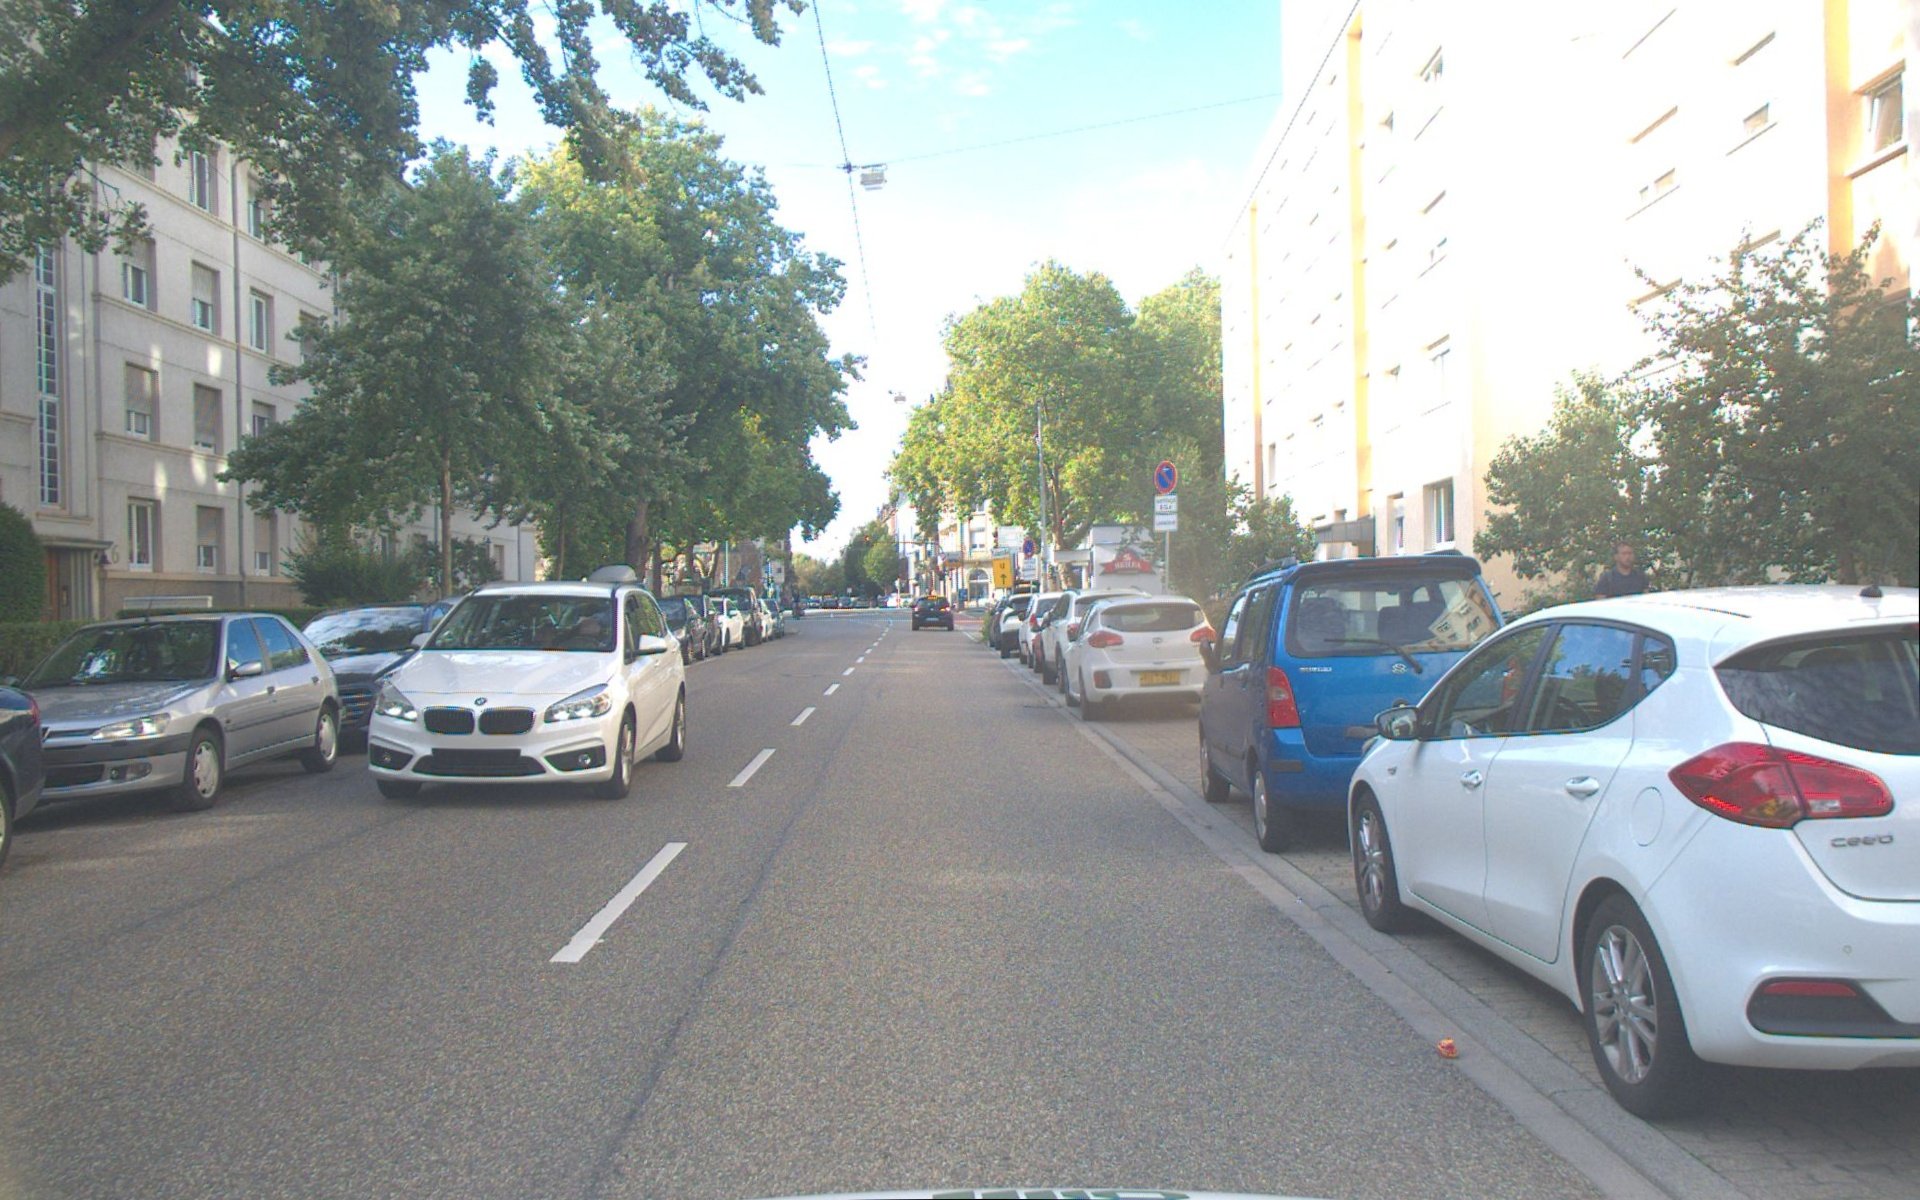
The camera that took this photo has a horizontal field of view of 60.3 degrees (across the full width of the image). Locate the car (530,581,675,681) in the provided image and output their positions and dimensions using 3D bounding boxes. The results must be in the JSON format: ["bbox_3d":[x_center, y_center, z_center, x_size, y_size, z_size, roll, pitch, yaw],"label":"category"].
[{"bbox_3d":[-6.821,0.553,32.019,1.762,1.697,4.482,-3,0,0],"label":"car"}]

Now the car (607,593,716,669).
[{"bbox_3d":[-6.621,0.655,37.033,1.665,1.512,3.847,-3,0,0],"label":"car"}]

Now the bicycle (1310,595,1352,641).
[{"bbox_3d":[9.463,0.437,42.260,0.518,1.134,2.209,-2,0,-1],"label":"bicycle"}]

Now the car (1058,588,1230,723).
[{"bbox_3d":[2.279,0.653,21.624,1.693,1.513,4.641,-2,0,0],"label":"car"}]

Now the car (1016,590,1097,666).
[{"bbox_3d":[2.058,0.577,36.132,1.519,1.584,3.467,0,0,-1],"label":"car"}]

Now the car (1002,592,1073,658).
[{"bbox_3d":[1.911,0.604,41.873,1.655,1.555,4.238,-1,0,1],"label":"car"}]

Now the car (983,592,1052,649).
[{"bbox_3d":[1.618,0.567,48.036,1.656,1.555,4.235,-1,0,-3],"label":"car"}]

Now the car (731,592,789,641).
[{"bbox_3d":[-7.350,0.570,61.005,1.763,1.648,3.801,-3,0,-3],"label":"car"}]

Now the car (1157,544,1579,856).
[{"bbox_3d":[2.520,0.558,11.269,1.694,1.678,4.115,-2,0,-2],"label":"car"}]

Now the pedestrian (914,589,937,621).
[{"bbox_3d":[-1.898,0.290,91.509,1.057,1.784,0.914,0,0,-18],"label":"pedestrian"}]

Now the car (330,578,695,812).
[{"bbox_3d":[-3.340,0.633,13.171,1.821,1.555,4.010,-1,0,0],"label":"car"}]

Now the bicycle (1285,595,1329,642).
[{"bbox_3d":[8.854,0.453,42.252,0.585,1.134,2.209,-2,0,-1],"label":"bicycle"}]

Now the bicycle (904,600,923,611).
[{"bbox_3d":[-5.106,0.592,180.838,1.989,1.101,0.628,-1,0,-15],"label":"bicycle"}]

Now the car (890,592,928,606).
[{"bbox_3d":[-5.641,-0.067,182.557,3.913,1.445,1.996,-1,0,-9],"label":"car"}]

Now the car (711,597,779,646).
[{"bbox_3d":[-7.297,0.710,56.429,1.762,1.519,3.802,-3,0,0],"label":"car"}]

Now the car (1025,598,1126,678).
[{"bbox_3d":[2.201,0.697,32.276,1.485,1.422,3.674,-2,0,-3],"label":"car"}]

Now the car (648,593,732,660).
[{"bbox_3d":[-6.748,0.631,41.563,1.521,1.546,3.016,-3,0,0],"label":"car"}]

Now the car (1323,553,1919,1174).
[{"bbox_3d":[2.719,0.621,6.097,1.694,1.486,4.115,-2,0,-2],"label":"car"}]

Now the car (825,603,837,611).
[{"bbox_3d":[-19.930,1.037,256.135,1.742,1.251,3.586,0,0,-2],"label":"car"}]

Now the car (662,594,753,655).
[{"bbox_3d":[-6.966,0.639,45.948,1.659,1.519,4.333,-2,0,2],"label":"car"}]

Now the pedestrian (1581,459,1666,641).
[{"bbox_3d":[6.572,-0.488,16.404,0.530,1.751,0.772,-1,0,4],"label":"pedestrian"}]

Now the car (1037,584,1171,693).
[{"bbox_3d":[2.303,0.593,27.394,1.694,1.608,4.115,-2,0,-2],"label":"car"}]

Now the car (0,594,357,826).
[{"bbox_3d":[-6.138,0.737,12.806,1.569,1.443,3.962,-4,0,-3],"label":"car"}]

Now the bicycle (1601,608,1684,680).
[{"bbox_3d":[9.465,0.590,22.990,0.449,0.943,1.516,-2,0,-2],"label":"bicycle"}]

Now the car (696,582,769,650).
[{"bbox_3d":[-7.007,0.470,51.273,1.688,1.915,4.190,-3,0,-2],"label":"car"}]

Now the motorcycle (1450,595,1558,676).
[{"bbox_3d":[7.624,0.470,23.296,0.618,1.063,2.393,-2,0,-2],"label":"motorcycle"}]

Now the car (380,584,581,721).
[{"bbox_3d":[-6.482,0.653,22.785,1.704,1.648,3.992,-2,0,-3],"label":"car"}]

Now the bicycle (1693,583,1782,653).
[{"bbox_3d":[10.865,0.242,23.157,0.449,0.943,1.516,-2,0,-2],"label":"bicycle"}]

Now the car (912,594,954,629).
[{"bbox_3d":[-1.159,0.470,70.054,1.716,1.438,3.998,0,0,-2],"label":"car"}]

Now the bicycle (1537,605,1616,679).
[{"bbox_3d":[8.529,0.566,22.930,0.449,0.958,1.516,-2,0,-2],"label":"bicycle"}]

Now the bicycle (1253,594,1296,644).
[{"bbox_3d":[8.047,0.463,42.414,0.585,1.207,2.209,-4,0,-1],"label":"bicycle"}]

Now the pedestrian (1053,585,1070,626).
[{"bbox_3d":[4.135,0.222,67.279,0.639,1.674,0.743,0,0,-2],"label":"pedestrian"}]

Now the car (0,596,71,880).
[{"bbox_3d":[-5.994,0.793,7.196,1.651,1.506,4.452,-4,0,2],"label":"car"}]

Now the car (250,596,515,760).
[{"bbox_3d":[-6.028,0.741,17.731,1.582,1.494,4.011,-2,0,-3],"label":"car"}]

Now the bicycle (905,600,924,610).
[{"bbox_3d":[-4.941,0.543,180.237,1.989,1.101,0.618,-1,0,-15],"label":"bicycle"}]
